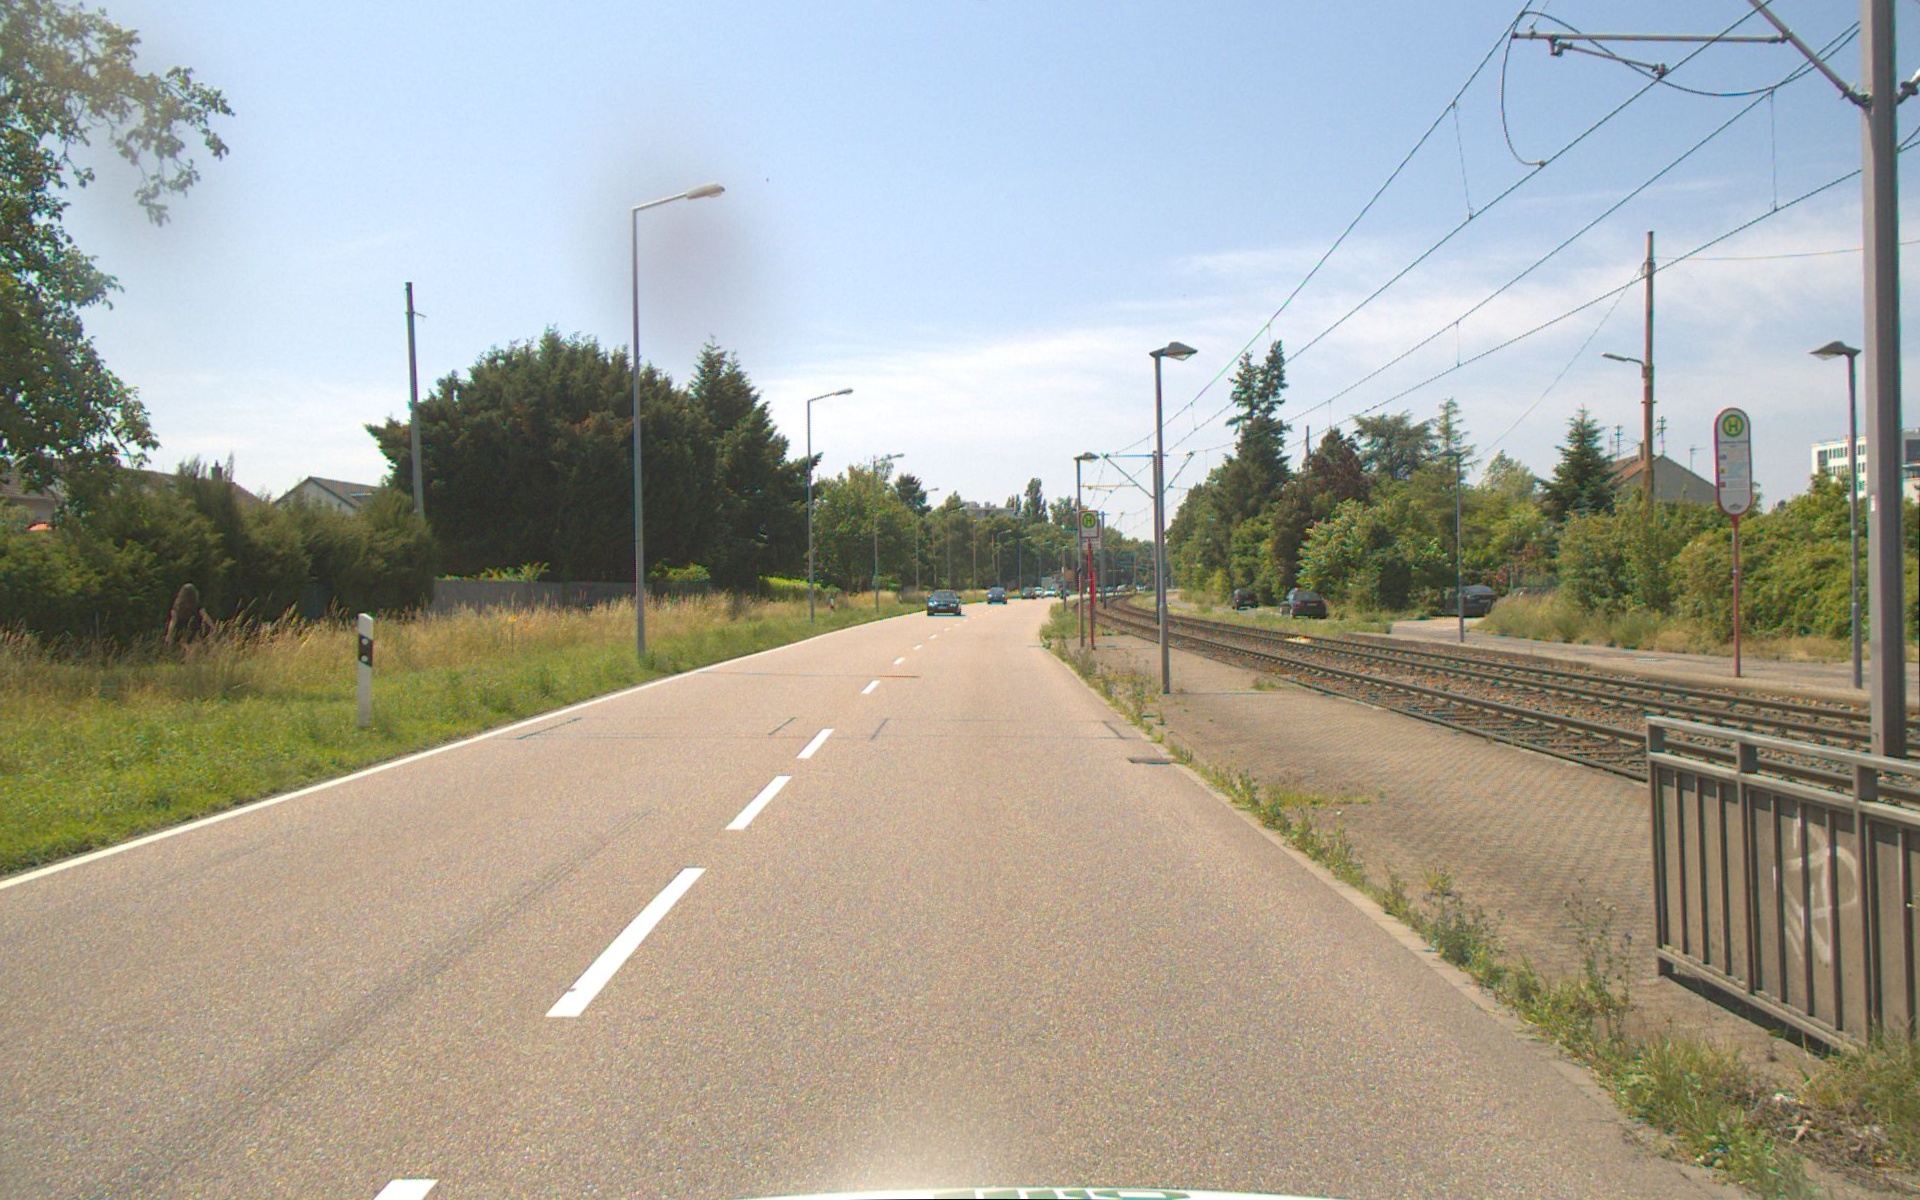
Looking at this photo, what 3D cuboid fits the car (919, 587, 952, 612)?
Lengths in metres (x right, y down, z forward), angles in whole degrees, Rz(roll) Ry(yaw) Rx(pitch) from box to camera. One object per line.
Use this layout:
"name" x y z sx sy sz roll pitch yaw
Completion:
"car" -1.373 -0.039 95.170 1.671 1.429 4.708 0 0 2

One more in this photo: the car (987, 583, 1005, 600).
"car" 3.601 -0.873 164.192 1.710 1.660 4.031 0 0 2

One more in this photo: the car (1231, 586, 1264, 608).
"car" 20.623 -0.219 118.895 1.874 1.496 4.002 0 0 3

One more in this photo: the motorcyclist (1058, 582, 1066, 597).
"motorcyclist" 13.711 -1.431 222.287 0.872 1.938 1.016 0 0 8

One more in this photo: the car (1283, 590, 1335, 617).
"car" 18.065 0.170 85.809 1.822 1.353 4.515 0 0 1

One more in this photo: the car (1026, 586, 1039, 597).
"car" 10.304 -1.175 235.571 1.710 1.529 3.709 0 0 3

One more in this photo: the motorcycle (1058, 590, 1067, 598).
"motorcycle" 13.726 -0.787 221.982 0.949 1.137 2.735 0 0 8

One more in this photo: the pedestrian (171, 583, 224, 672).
"pedestrian" -12.975 0.462 28.156 0.596 1.503 0.633 0 0 1

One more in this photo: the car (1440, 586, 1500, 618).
"car" 23.607 0.080 76.731 1.685 1.444 3.740 0 0 1

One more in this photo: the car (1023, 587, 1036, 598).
"car" 9.227 -0.996 219.207 1.665 1.517 4.442 0 0 3
